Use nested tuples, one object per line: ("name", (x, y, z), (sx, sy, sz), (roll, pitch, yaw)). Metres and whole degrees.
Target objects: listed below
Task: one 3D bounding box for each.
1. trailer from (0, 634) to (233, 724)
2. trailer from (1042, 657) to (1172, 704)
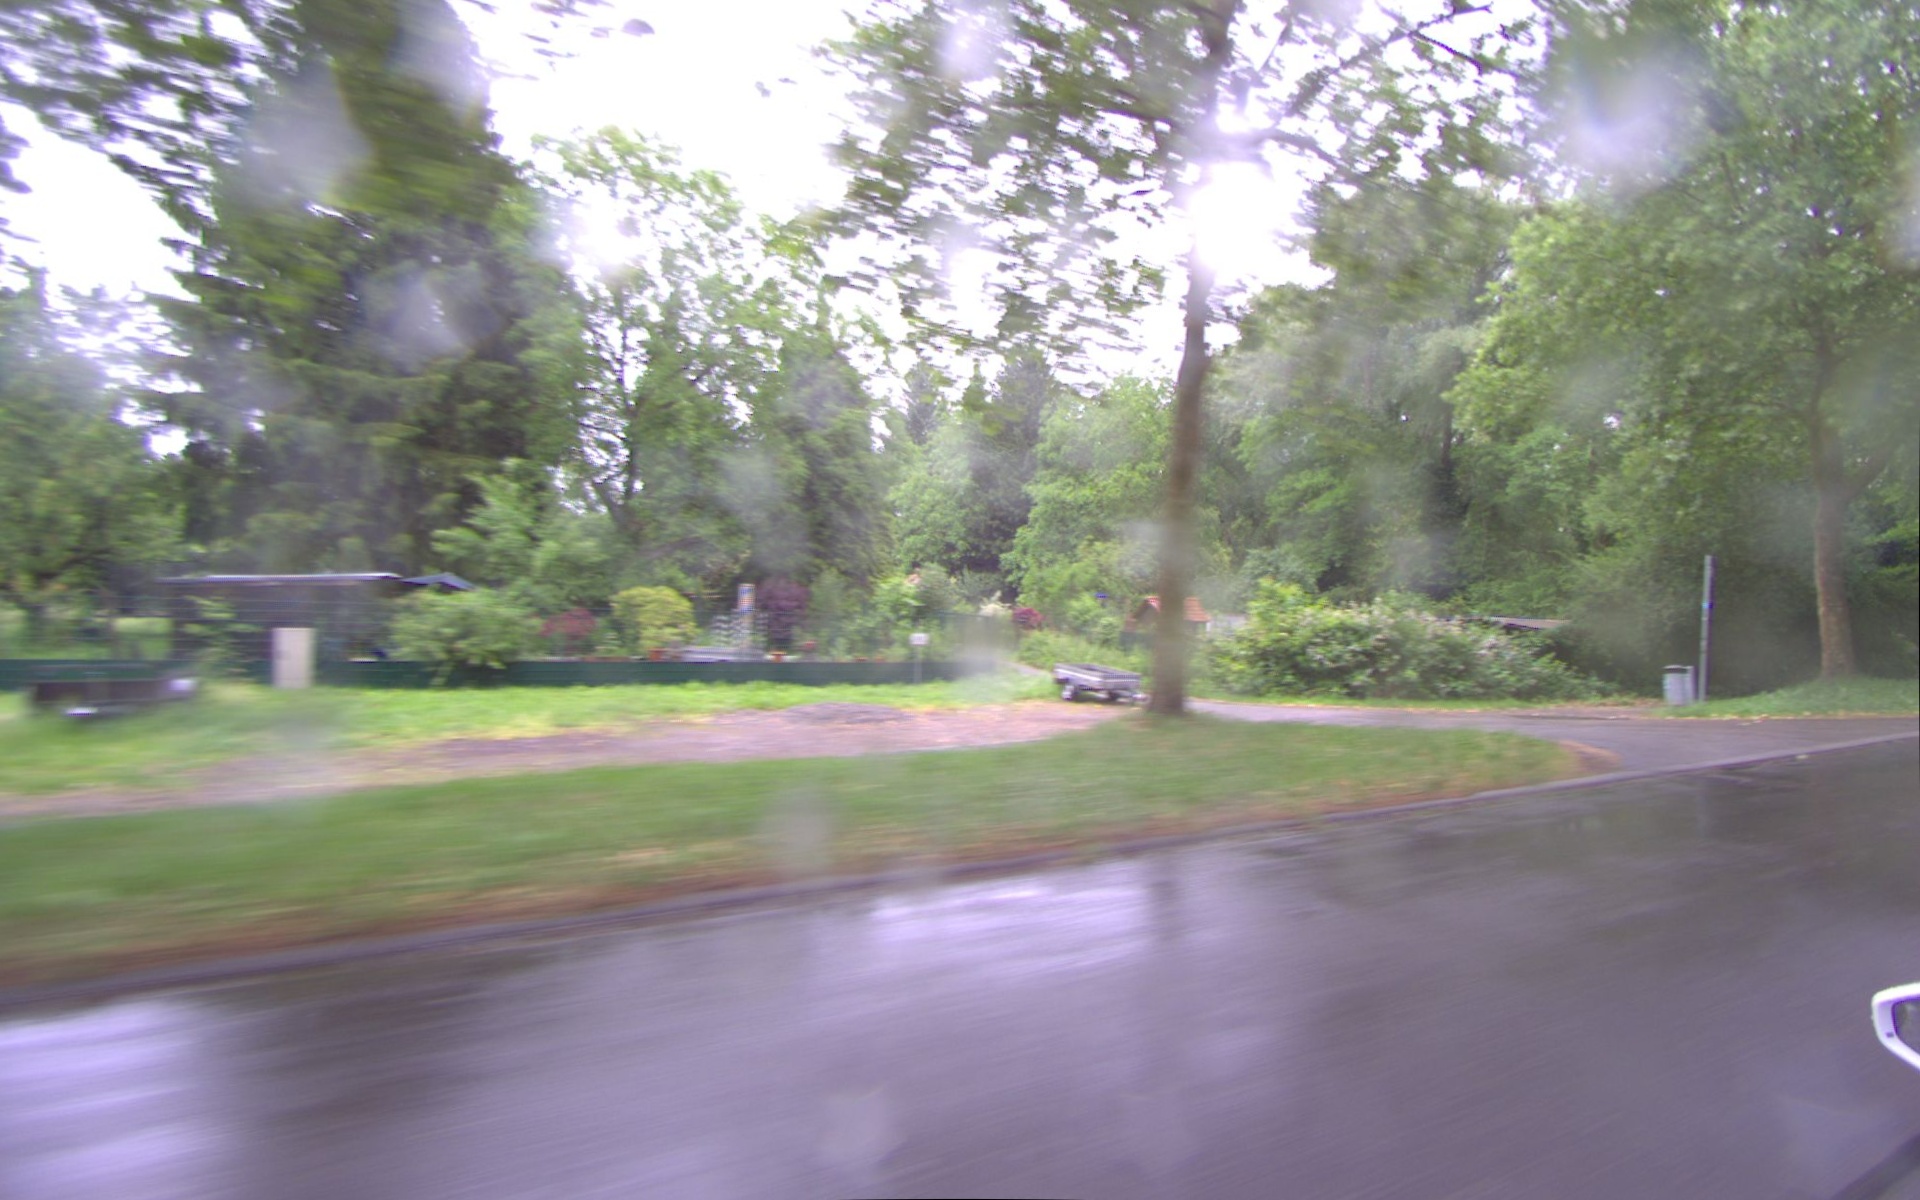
("trailer", (-13.679, 1.211, 16.506), (2.355, 1.046, 4.295), (2, 0, -31))
("trailer", (3.470, 1.893, 24.110), (1.656, 0.848, 3.018), (2, 0, -27))
